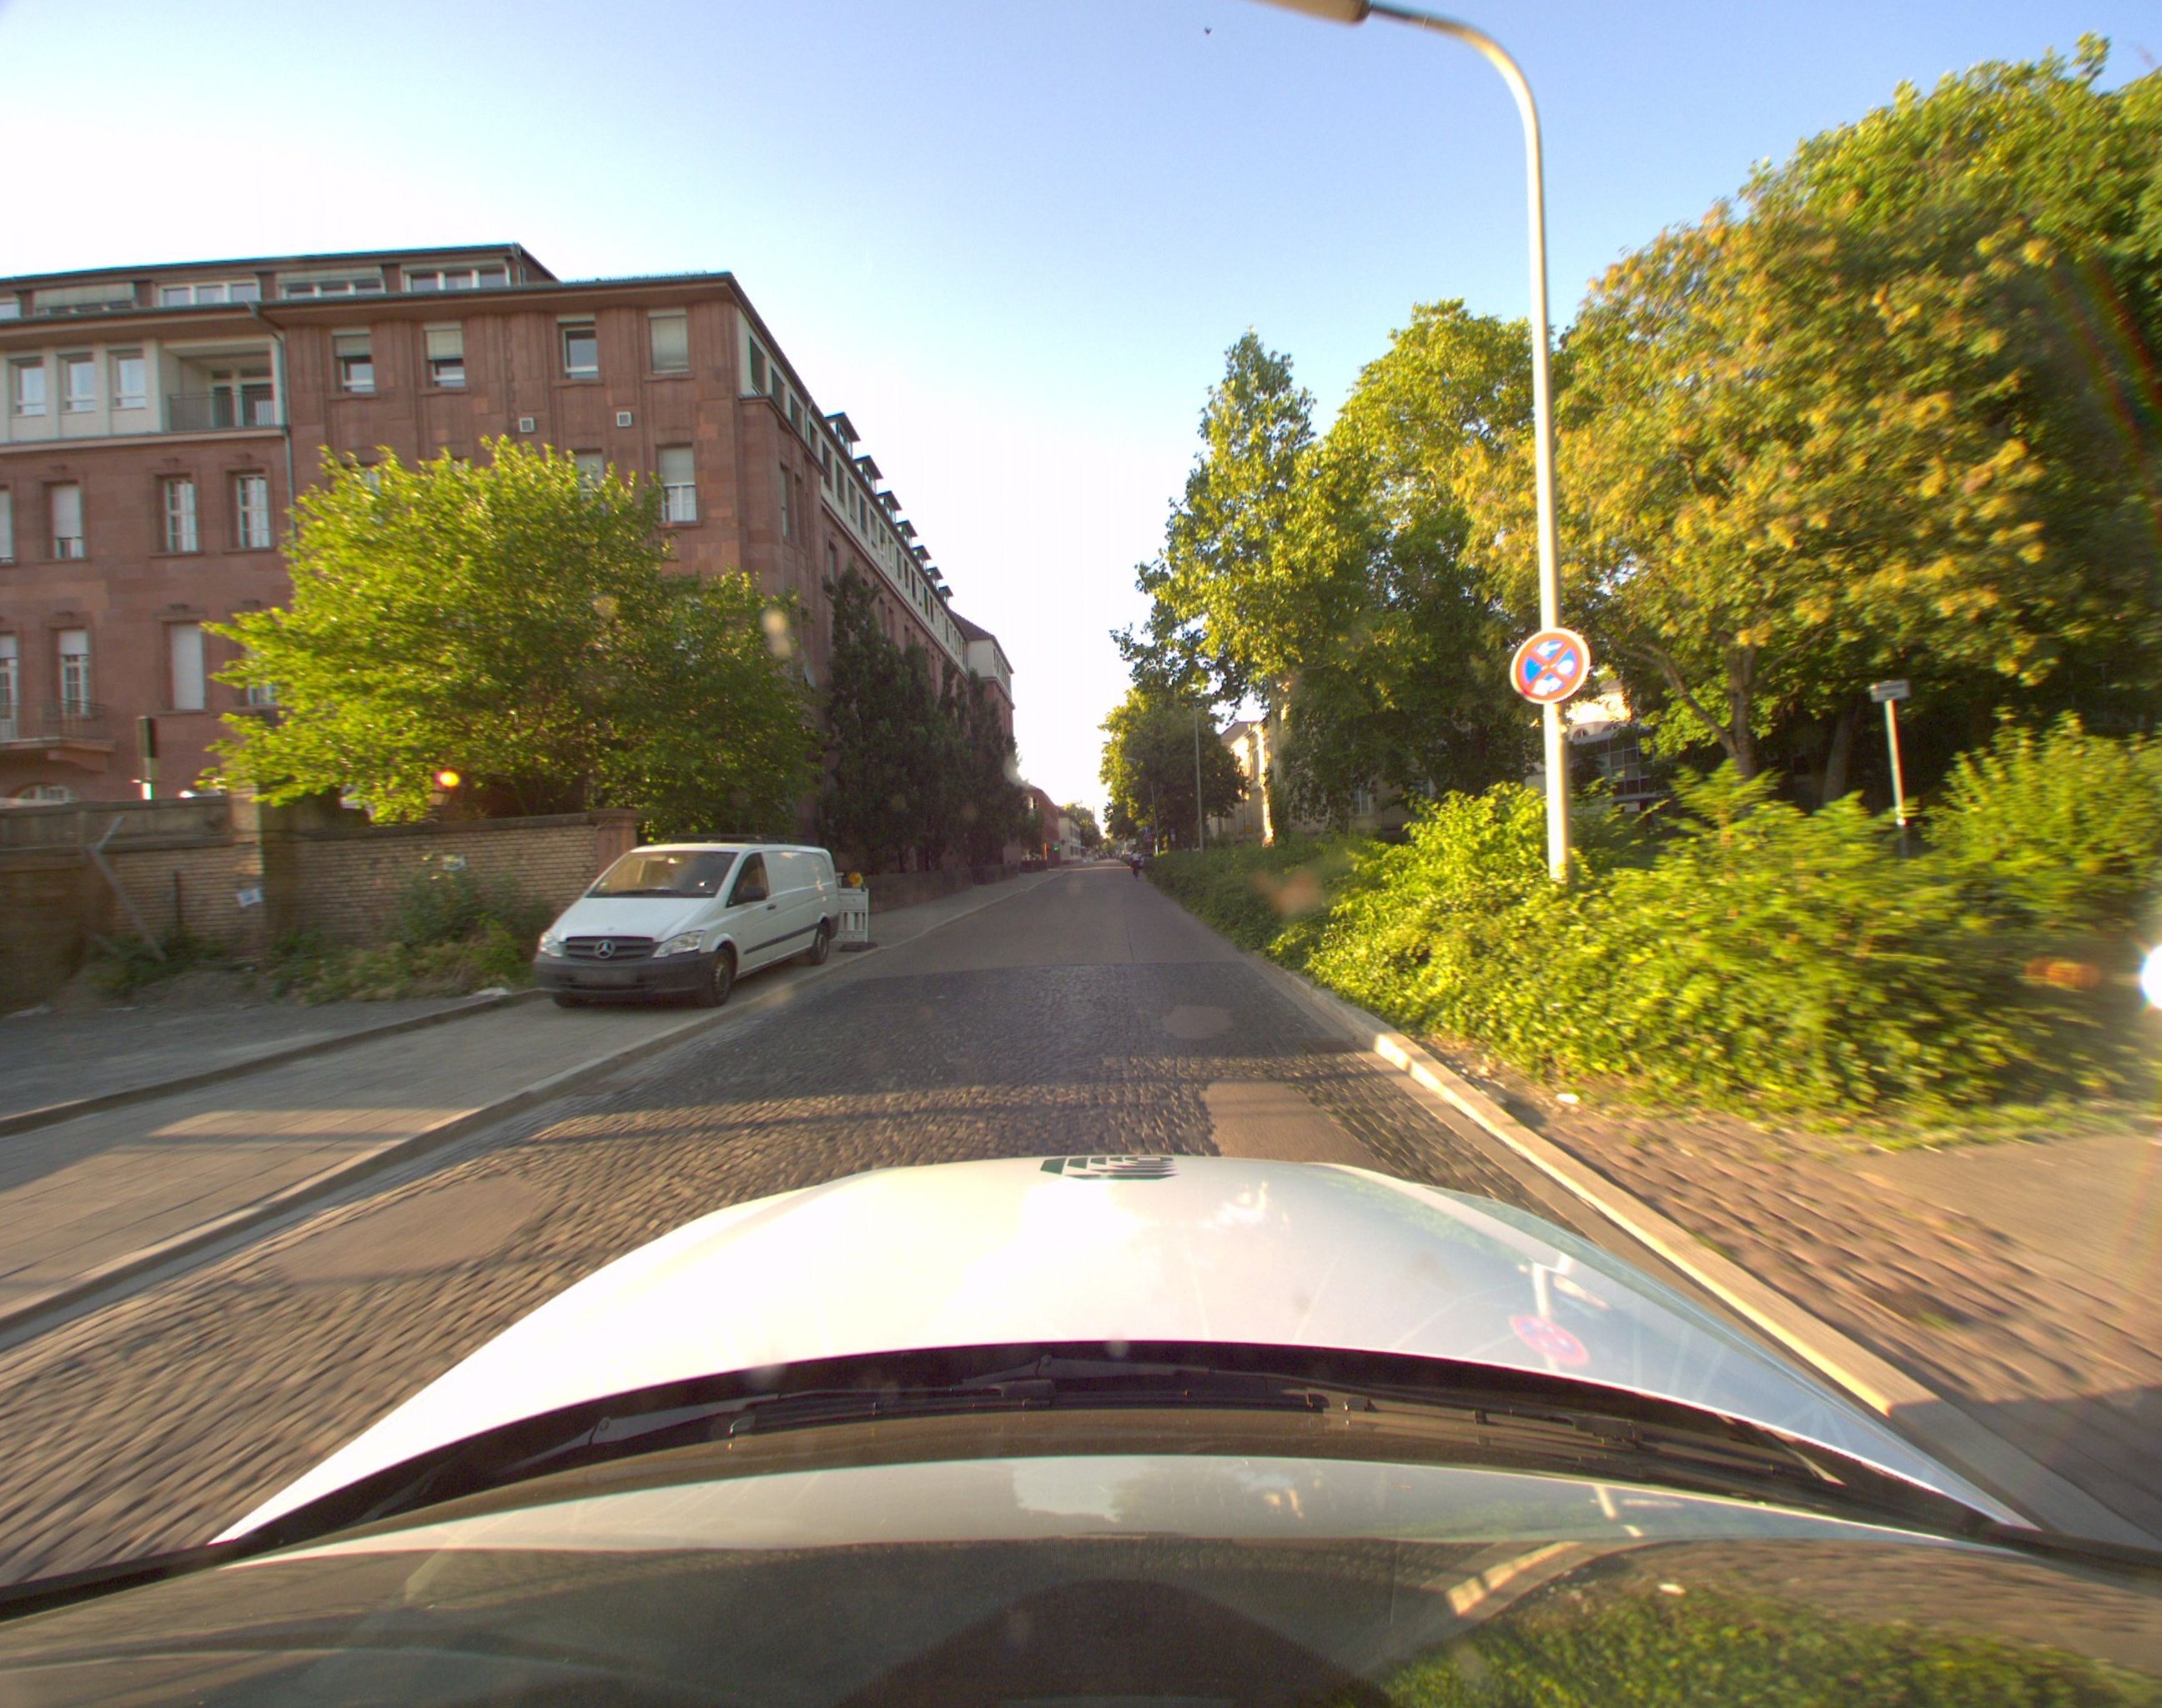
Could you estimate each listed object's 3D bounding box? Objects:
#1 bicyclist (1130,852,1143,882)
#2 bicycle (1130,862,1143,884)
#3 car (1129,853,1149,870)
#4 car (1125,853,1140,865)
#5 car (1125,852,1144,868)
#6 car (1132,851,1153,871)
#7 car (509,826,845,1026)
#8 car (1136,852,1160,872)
[{"bbox_3d":[3.127,0.731,46.230,0.637,1.667,0.842,-2,0,0],"label":"bicyclist"},{"bbox_3d":[3.139,1.090,46.261,0.636,1.193,1.876,-2,0,0],"label":"bicycle"},{"bbox_3d":[5.909,0.766,83.708,1.710,1.537,4.048,-3,0,0],"label":"car"},{"bbox_3d":[7.630,0.719,120.890,1.987,1.585,4.001,-4,0,1],"label":"car"},{"bbox_3d":[6.558,0.713,99.722,1.987,1.706,4.001,-4,0,1],"label":"car"},{"bbox_3d":[5.704,0.654,75.888,1.709,1.712,4.476,-3,0,3],"label":"car"},{"bbox_3d":[-4.935,0.785,11.024,1.876,2.014,5.225,-1,-1,0],"label":"car"},{"bbox_3d":[5.732,0.698,70.127,1.680,1.447,3.671,-6,-1,0],"label":"car"}]
